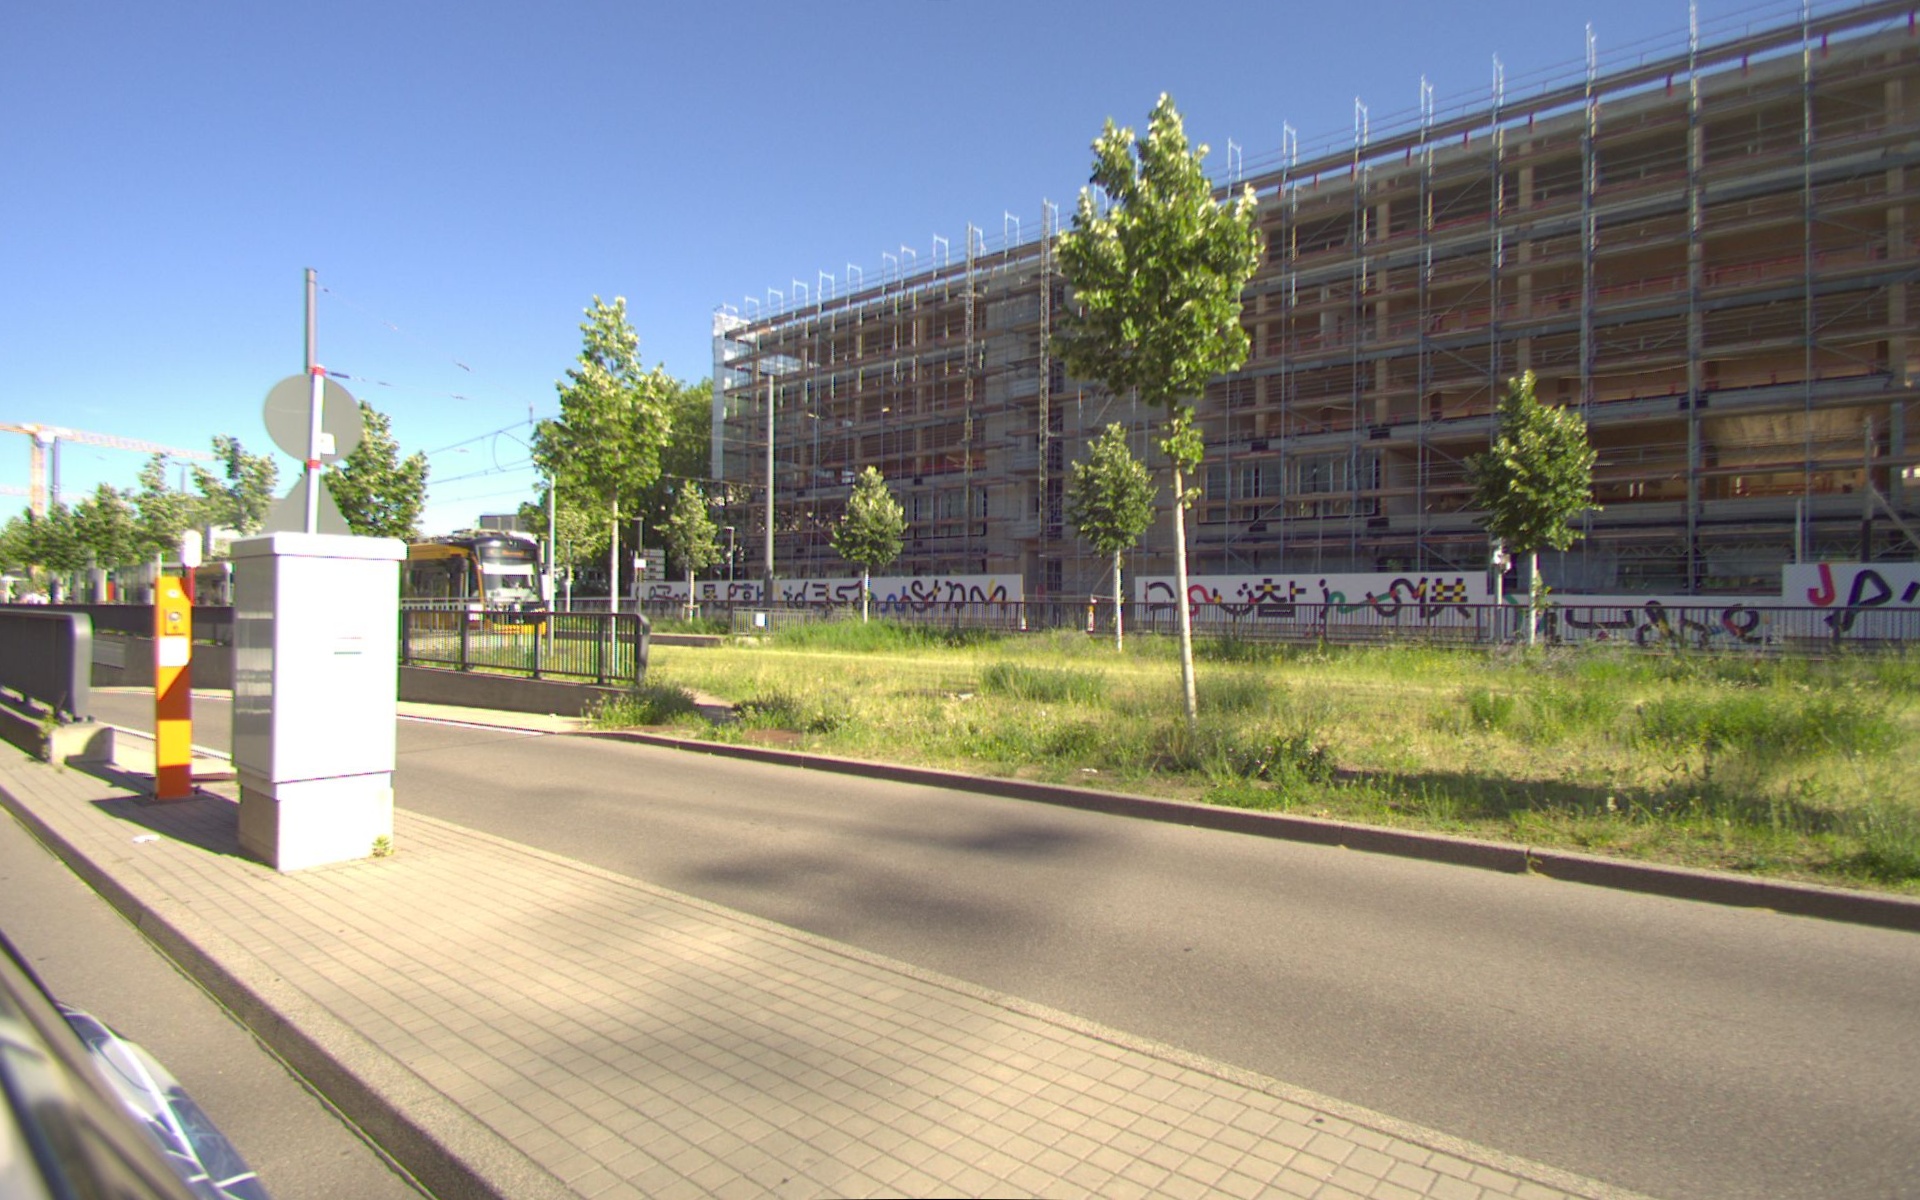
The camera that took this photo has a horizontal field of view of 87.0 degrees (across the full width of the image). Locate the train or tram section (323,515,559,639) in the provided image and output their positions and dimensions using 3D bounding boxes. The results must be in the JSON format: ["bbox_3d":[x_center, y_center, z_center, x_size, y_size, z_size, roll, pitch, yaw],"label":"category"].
[{"bbox_3d":[-18.376,-0.672,35.117,12.784,3.666,2.786,0,-1,41],"label":"train or tram section"}]

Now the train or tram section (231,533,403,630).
[{"bbox_3d":[-27.964,-0.701,43.592,12.784,3.666,2.786,0,-1,41],"label":"train or tram section"}]

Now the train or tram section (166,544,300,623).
[{"bbox_3d":[-37.577,-0.755,52.002,12.784,3.666,2.786,0,-1,41],"label":"train or tram section"}]
